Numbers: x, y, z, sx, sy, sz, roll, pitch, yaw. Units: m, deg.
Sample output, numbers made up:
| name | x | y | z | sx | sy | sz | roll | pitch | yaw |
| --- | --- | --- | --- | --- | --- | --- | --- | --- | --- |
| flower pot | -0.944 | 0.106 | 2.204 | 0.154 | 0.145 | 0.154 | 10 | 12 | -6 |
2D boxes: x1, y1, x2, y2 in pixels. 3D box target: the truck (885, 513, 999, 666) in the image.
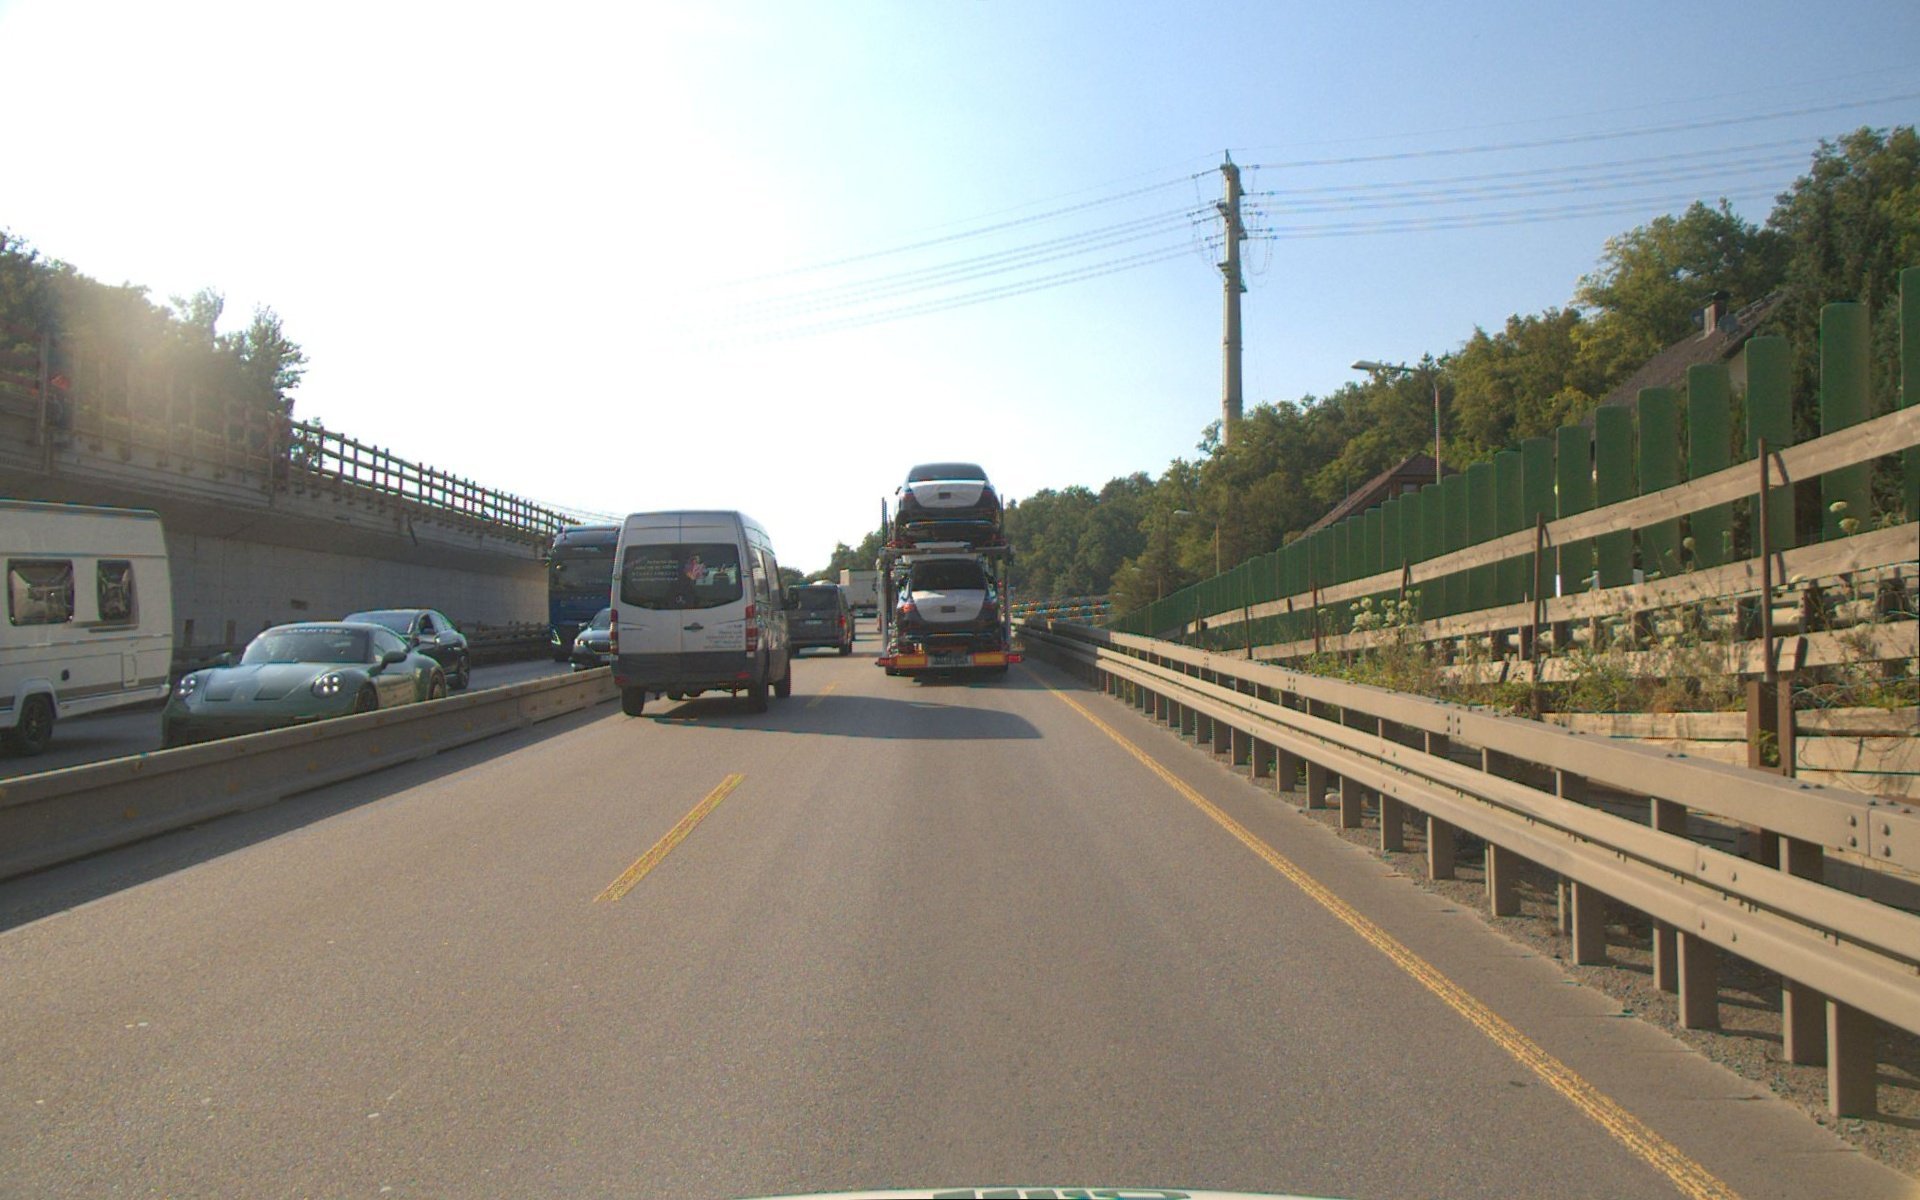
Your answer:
| name | x | y | z | sx | sy | sz | roll | pitch | yaw |
| --- | --- | --- | --- | --- | --- | --- | --- | --- | --- |
| truck | -0.451 | -0.175 | 43.107 | 2.628 | 3.597 | 7.192 | 2 | -1 | 0 |

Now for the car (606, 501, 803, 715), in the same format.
| name | x | y | z | sx | sy | sz | roll | pitch | yaw |
| --- | --- | --- | --- | --- | --- | --- | --- | --- | --- |
| car | -3.494 | 0.123 | 23.691 | 1.953 | 2.694 | 5.530 | 0 | 0 | 0 |

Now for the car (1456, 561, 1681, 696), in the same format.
| name | x | y | z | sx | sy | sz | roll | pitch | yaw |
| --- | --- | --- | --- | --- | --- | --- | --- | --- | --- |
| car | 9.274 | 0.476 | 25.620 | 1.770 | 1.903 | 4.438 | 0 | -2 | -1 |

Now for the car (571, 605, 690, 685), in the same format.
| name | x | y | z | sx | sy | sz | roll | pitch | yaw |
| --- | --- | --- | --- | --- | --- | --- | --- | --- | --- |
| car | -7.315 | 1.003 | 37.178 | 1.800 | 1.621 | 4.866 | 2 | -1 | -2 |

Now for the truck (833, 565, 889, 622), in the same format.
| name | x | y | z | sx | sy | sz | roll | pitch | yaw |
| --- | --- | --- | --- | --- | --- | --- | --- | --- | --- |
| truck | -8.730 | -0.487 | 144.968 | 3.989 | 4.761 | 10.571 | 1 | -1 | -8 |

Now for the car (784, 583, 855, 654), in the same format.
| name | x | y | z | sx | sy | sz | roll | pitch | yaw |
| --- | --- | --- | --- | --- | --- | --- | --- | --- | --- |
| car | -4.036 | 0.576 | 48.116 | 1.772 | 1.937 | 3.998 | 2 | -2 | -2 |

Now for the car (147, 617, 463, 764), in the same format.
| name | x | y | z | sx | sy | sz | roll | pitch | yaw |
| --- | --- | --- | --- | --- | --- | --- | --- | --- | --- |
| car | -6.755 | 0.864 | 17.570 | 1.745 | 1.348 | 4.238 | 0 | 0 | -1 |

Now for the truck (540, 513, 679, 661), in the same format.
| name | x | y | z | sx | sy | sz | roll | pitch | yaw |
| --- | --- | --- | --- | --- | --- | --- | --- | --- | --- |
| truck | -10.955 | -0.360 | 52.645 | 2.571 | 4.184 | 9.623 | -2 | 0 | -2 |

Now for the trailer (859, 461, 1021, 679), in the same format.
| name | x | y | z | sx | sy | sz | roll | pitch | yaw |
| --- | --- | --- | --- | --- | --- | --- | --- | --- | --- |
| trailer | -0.330 | -0.351 | 35.498 | 2.628 | 3.597 | 15.286 | 1 | -1 | 0 |

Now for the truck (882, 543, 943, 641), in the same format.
| name | x | y | z | sx | sy | sz | roll | pitch | yaw |
| --- | --- | --- | --- | --- | --- | --- | --- | --- | --- |
| truck | -2.444 | -0.354 | 83.704 | 2.850 | 4.687 | 7.281 | 1 | -1 | -3 |

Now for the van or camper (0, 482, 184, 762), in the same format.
| name | x | y | z | sx | sy | sz | roll | pitch | yaw |
| --- | --- | --- | --- | --- | --- | --- | --- | --- | --- |
| van or camper | -10.429 | 0.229 | 16.602 | 2.265 | 2.709 | 6.453 | -1 | 0 | -1 |

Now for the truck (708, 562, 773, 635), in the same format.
| name | x | y | z | sx | sy | sz | roll | pitch | yaw |
| --- | --- | --- | --- | --- | --- | --- | --- | --- | --- |
| truck | -13.908 | 0.001 | 105.965 | 2.923 | 4.226 | 15.842 | 1 | -1 | -4 |

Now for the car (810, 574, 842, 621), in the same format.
| name | x | y | z | sx | sy | sz | roll | pitch | yaw |
| --- | --- | --- | --- | --- | --- | --- | --- | --- | --- |
| car | -15.275 | -0.189 | 188.433 | 3.378 | 5.123 | 9.641 | 1 | -1 | -6 |

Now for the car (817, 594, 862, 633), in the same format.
| name | x | y | z | sx | sy | sz | roll | pitch | yaw |
| --- | --- | --- | --- | --- | --- | --- | --- | --- | --- |
| car | -5.098 | 0.563 | 70.616 | 1.690 | 1.549 | 3.972 | 2 | 0 | -2 |

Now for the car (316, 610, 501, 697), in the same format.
| name | x | y | z | sx | sy | sz | roll | pitch | yaw |
| --- | --- | --- | --- | --- | --- | --- | --- | --- | --- |
| car | -10.236 | 0.941 | 31.116 | 1.932 | 1.446 | 4.898 | -2 | 0 | -2 |

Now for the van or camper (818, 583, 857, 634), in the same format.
| name | x | y | z | sx | sy | sz | roll | pitch | yaw |
| --- | --- | --- | --- | --- | --- | --- | --- | --- | --- |
| van or camper | -6.631 | 0.481 | 89.796 | 1.929 | 2.637 | 5.037 | 2 | -1 | -3 |
